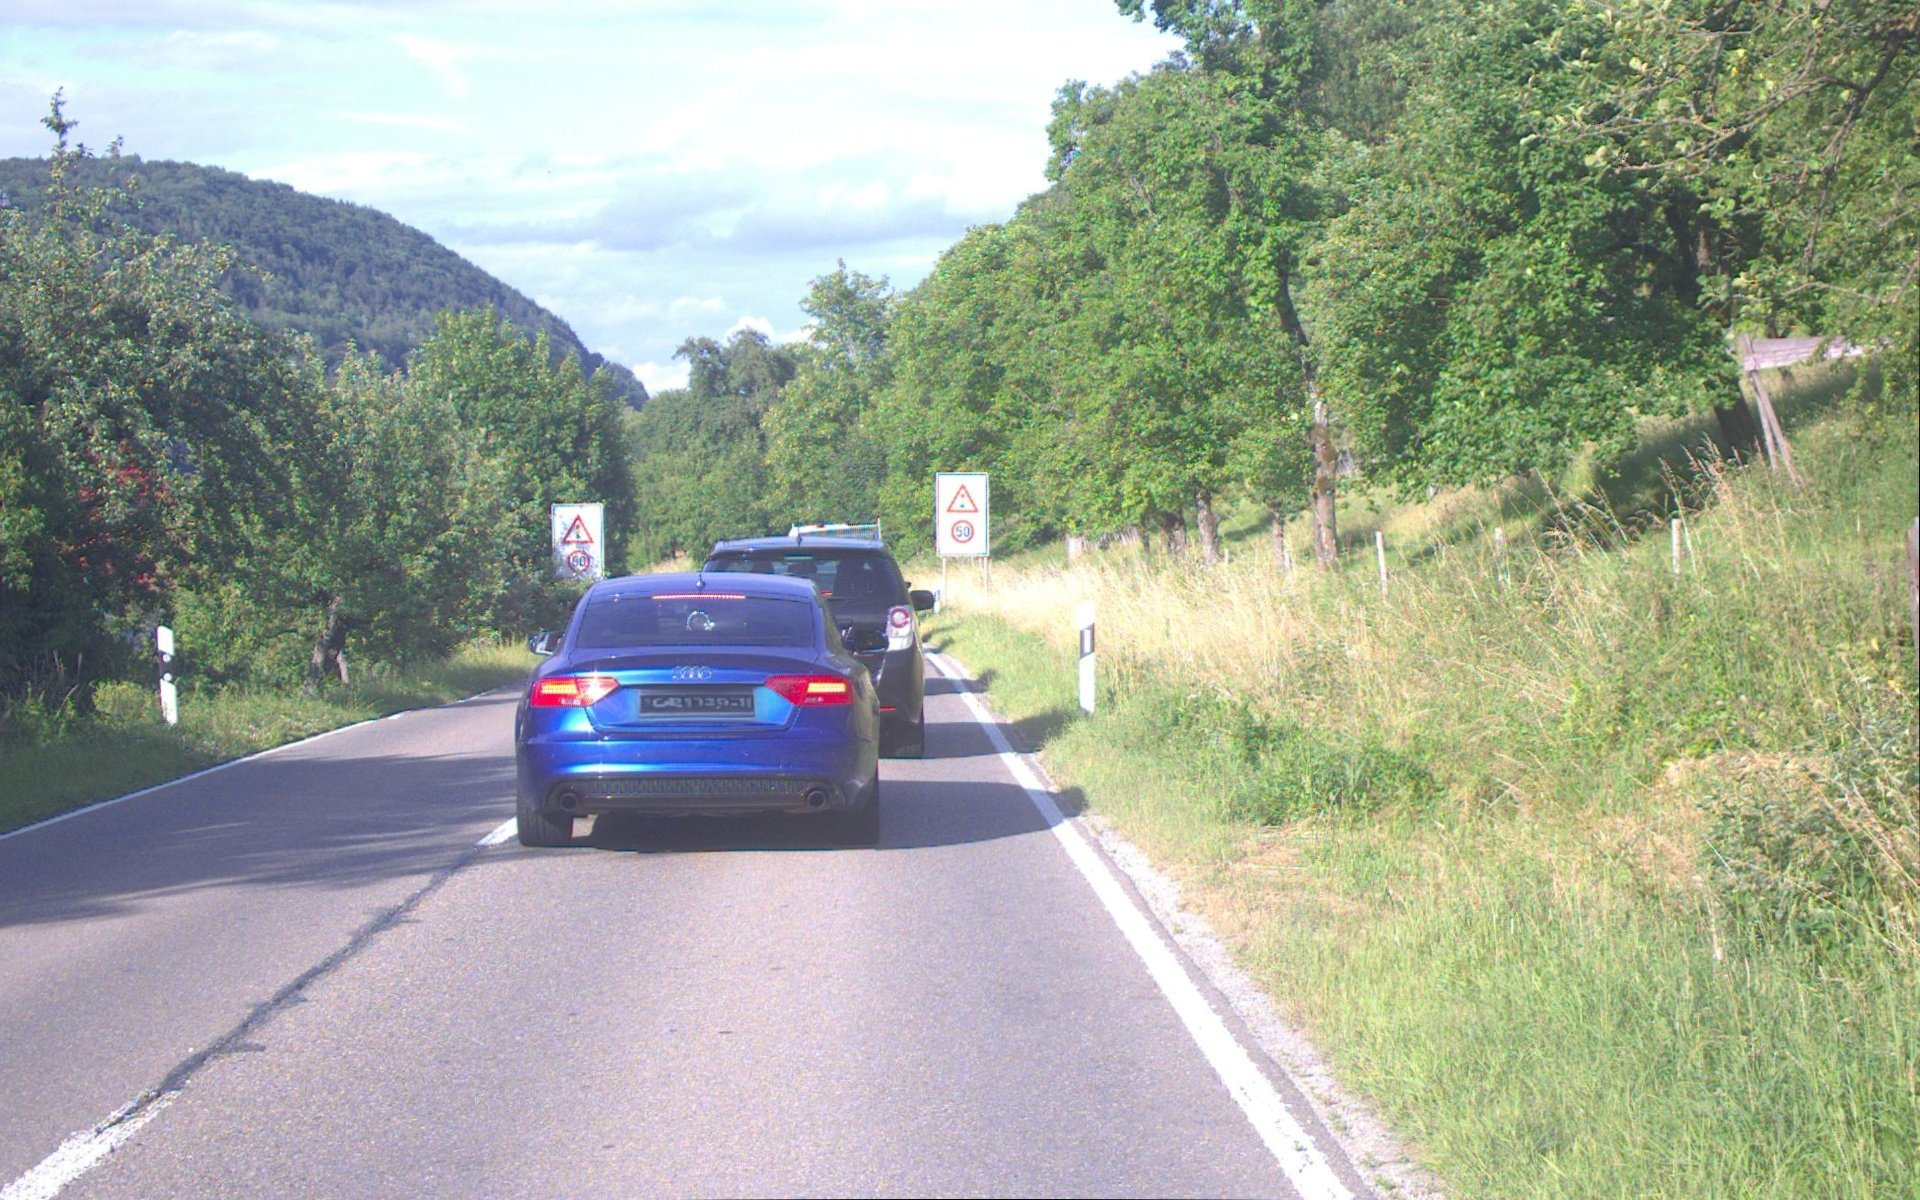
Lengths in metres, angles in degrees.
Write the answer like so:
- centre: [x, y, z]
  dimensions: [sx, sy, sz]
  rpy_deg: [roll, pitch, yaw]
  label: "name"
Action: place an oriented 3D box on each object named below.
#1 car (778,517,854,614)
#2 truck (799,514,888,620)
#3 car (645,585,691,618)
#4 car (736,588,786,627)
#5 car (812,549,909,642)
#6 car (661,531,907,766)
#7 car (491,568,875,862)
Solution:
- centre: [-3.782, -0.907, 89.611]
  dimensions: [1.792, 2.445, 3.920]
  rpy_deg: [1, 1, -5]
  label: "car"
- centre: [-2.706, -0.763, 79.055]
  dimensions: [1.949, 2.337, 5.094]
  rpy_deg: [1, 1, -3]
  label: "truck"
- centre: [-14.045, 0.058, 165.264]
  dimensions: [1.558, 1.491, 3.779]
  rpy_deg: [1, 1, -14]
  label: "car"
- centre: [-8.045, 0.273, 138.503]
  dimensions: [1.558, 1.491, 3.779]
  rpy_deg: [1, 1, -10]
  label: "car"
- centre: [-1.812, -0.112, 62.193]
  dimensions: [1.692, 1.618, 3.789]
  rpy_deg: [0, 1, -2]
  label: "car"
- centre: [-1.282, 0.304, 25.732]
  dimensions: [1.692, 1.618, 3.789]
  rpy_deg: [0, 1, -2]
  label: "car"
- centre: [-1.367, 0.532, 18.424]
  dimensions: [1.805, 1.377, 4.215]
  rpy_deg: [-1, 0, -1]
  label: "car"
